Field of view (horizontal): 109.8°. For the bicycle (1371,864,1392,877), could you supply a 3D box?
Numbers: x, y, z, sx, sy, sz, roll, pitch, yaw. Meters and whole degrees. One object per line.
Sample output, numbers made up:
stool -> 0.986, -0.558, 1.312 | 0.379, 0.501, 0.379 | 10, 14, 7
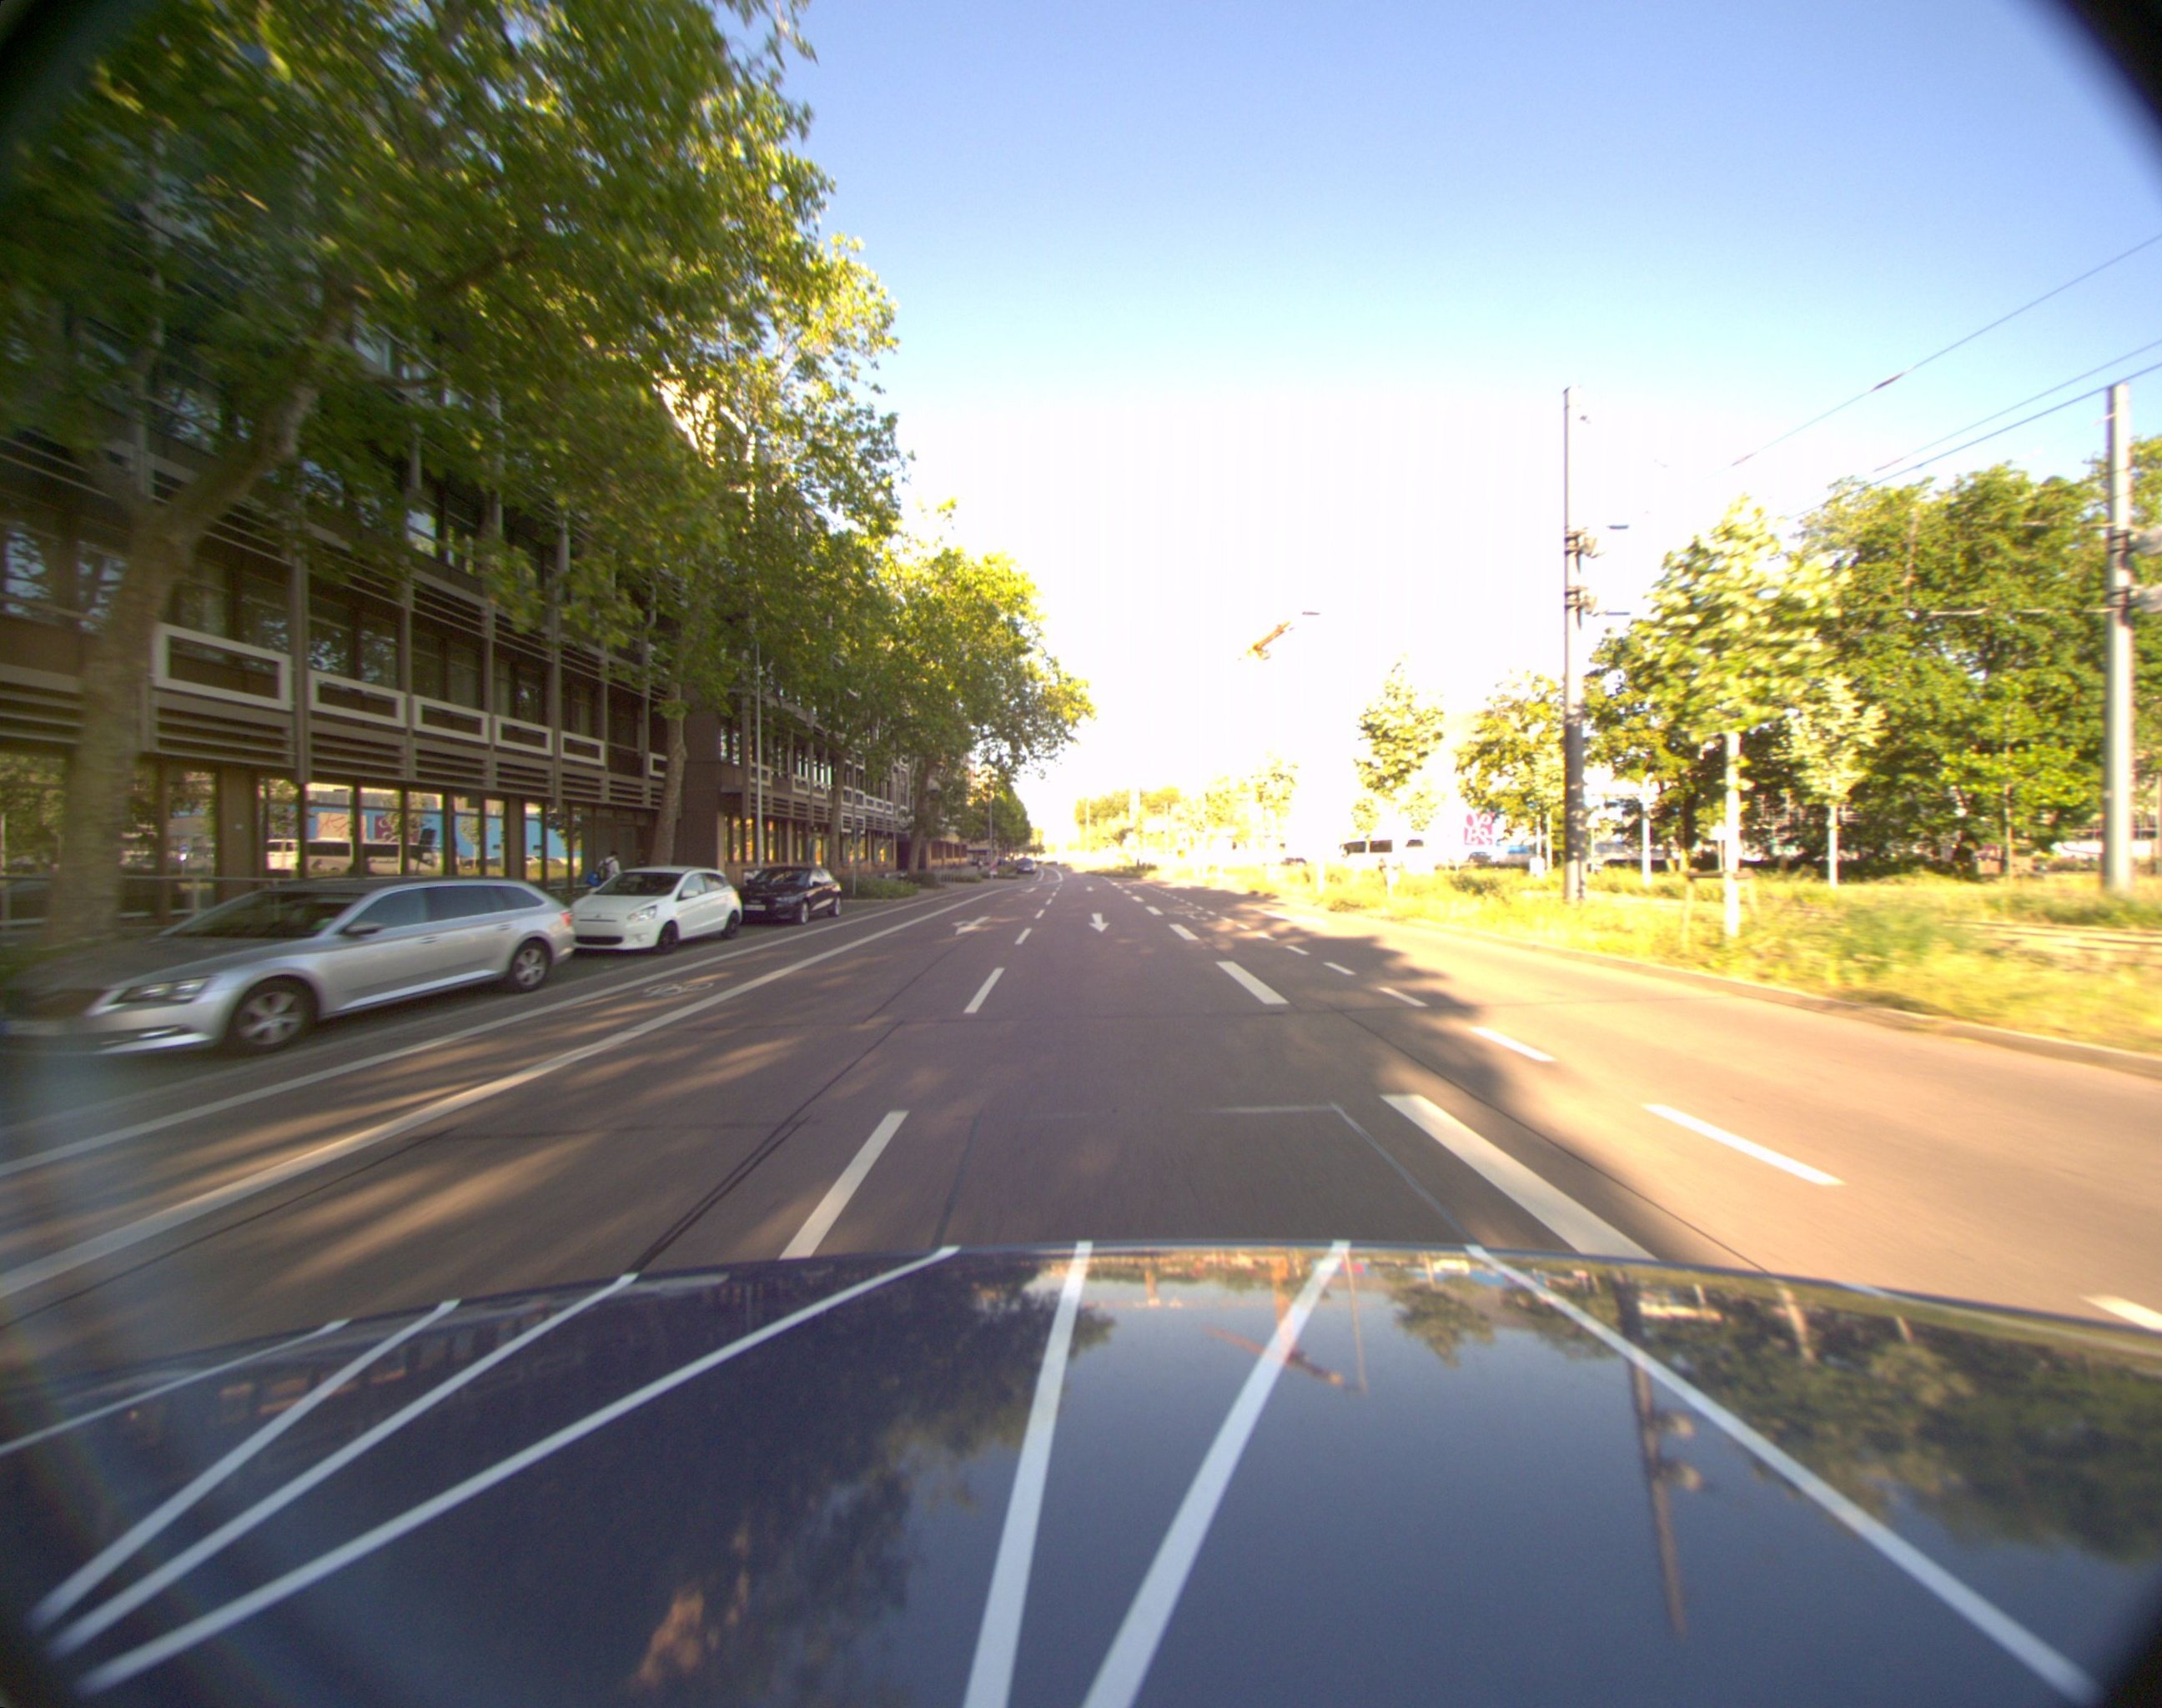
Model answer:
bicycle -> 23.471, 1.290, 59.432 | 0.689, 0.997, 2.361 | 0, 0, 0

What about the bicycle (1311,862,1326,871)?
bicycle -> 22.902, 1.216, 73.243 | 0.689, 0.799, 2.144 | 0, 0, -2

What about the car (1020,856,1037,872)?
car -> -5.599, 1.060, 81.267 | 1.733, 1.678, 4.513 | 1, 0, -3

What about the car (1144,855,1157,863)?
car -> 14.910, 0.981, 163.251 | 1.999, 1.641, 4.269 | -1, 0, -3

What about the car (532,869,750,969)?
car -> -7.791, 1.067, 13.938 | 1.686, 1.469, 3.874 | 2, 0, 0

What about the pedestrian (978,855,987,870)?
pedestrian -> -10.584, 0.892, 81.611 | 0.791, 1.639, 1.136 | 0, 0, -2

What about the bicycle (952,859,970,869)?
bicycle -> -12.964, 1.058, 82.325 | 1.906, 1.086, 0.392 | 1, 1, -8

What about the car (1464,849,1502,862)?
car -> 51.431, 0.239, 97.361 | 1.414, 1.626, 4.215 | -1, 0, -27

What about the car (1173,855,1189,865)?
car -> 17.196, 1.004, 131.169 | 1.999, 1.633, 4.166 | -1, 0, -2

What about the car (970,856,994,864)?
car -> -18.920, 1.147, 145.312 | 4.277, 1.441, 1.860 | -1, 1, -14

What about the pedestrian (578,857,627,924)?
pedestrian -> -13.567, 1.010, 21.556 | 0.833, 1.845, 0.847 | -1, 0, -1

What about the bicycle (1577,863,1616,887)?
bicycle -> 24.405, 0.974, 35.979 | 0.560, 1.053, 1.898 | -1, 0, 0

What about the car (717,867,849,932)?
car -> -7.579, 1.099, 19.801 | 1.710, 1.410, 4.276 | 2, 0, 0

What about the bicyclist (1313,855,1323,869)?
bicyclist -> 22.885, 0.722, 73.330 | 0.689, 1.338, 0.871 | 0, 0, -2

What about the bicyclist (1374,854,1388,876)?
bicyclist -> 23.462, 0.860, 59.353 | 0.689, 1.698, 0.954 | 0, 0, 0

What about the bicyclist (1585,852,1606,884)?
bicyclist -> 24.393, 0.647, 36.031 | 0.558, 1.498, 0.668 | -1, 0, 0

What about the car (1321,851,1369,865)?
car -> 32.955, 0.455, 94.864 | 5.241, 1.707, 2.124 | -1, 0, -4

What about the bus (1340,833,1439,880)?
bus -> 25.876, 0.175, 64.693 | 2.807, 3.574, 12.695 | -1, 0, -2

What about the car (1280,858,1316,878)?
car -> 20.100, 1.261, 70.729 | 1.875, 1.755, 4.812 | 0, 0, -1

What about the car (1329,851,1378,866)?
car -> 32.984, 0.513, 92.085 | 5.241, 1.707, 2.124 | -1, 0, -4

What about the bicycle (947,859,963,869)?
bicycle -> -13.276, 1.070, 79.968 | 1.631, 1.076, 0.392 | 0, 1, 0

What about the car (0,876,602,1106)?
car -> -7.701, 1.071, 8.109 | 1.685, 1.505, 5.060 | 2, 0, 4
